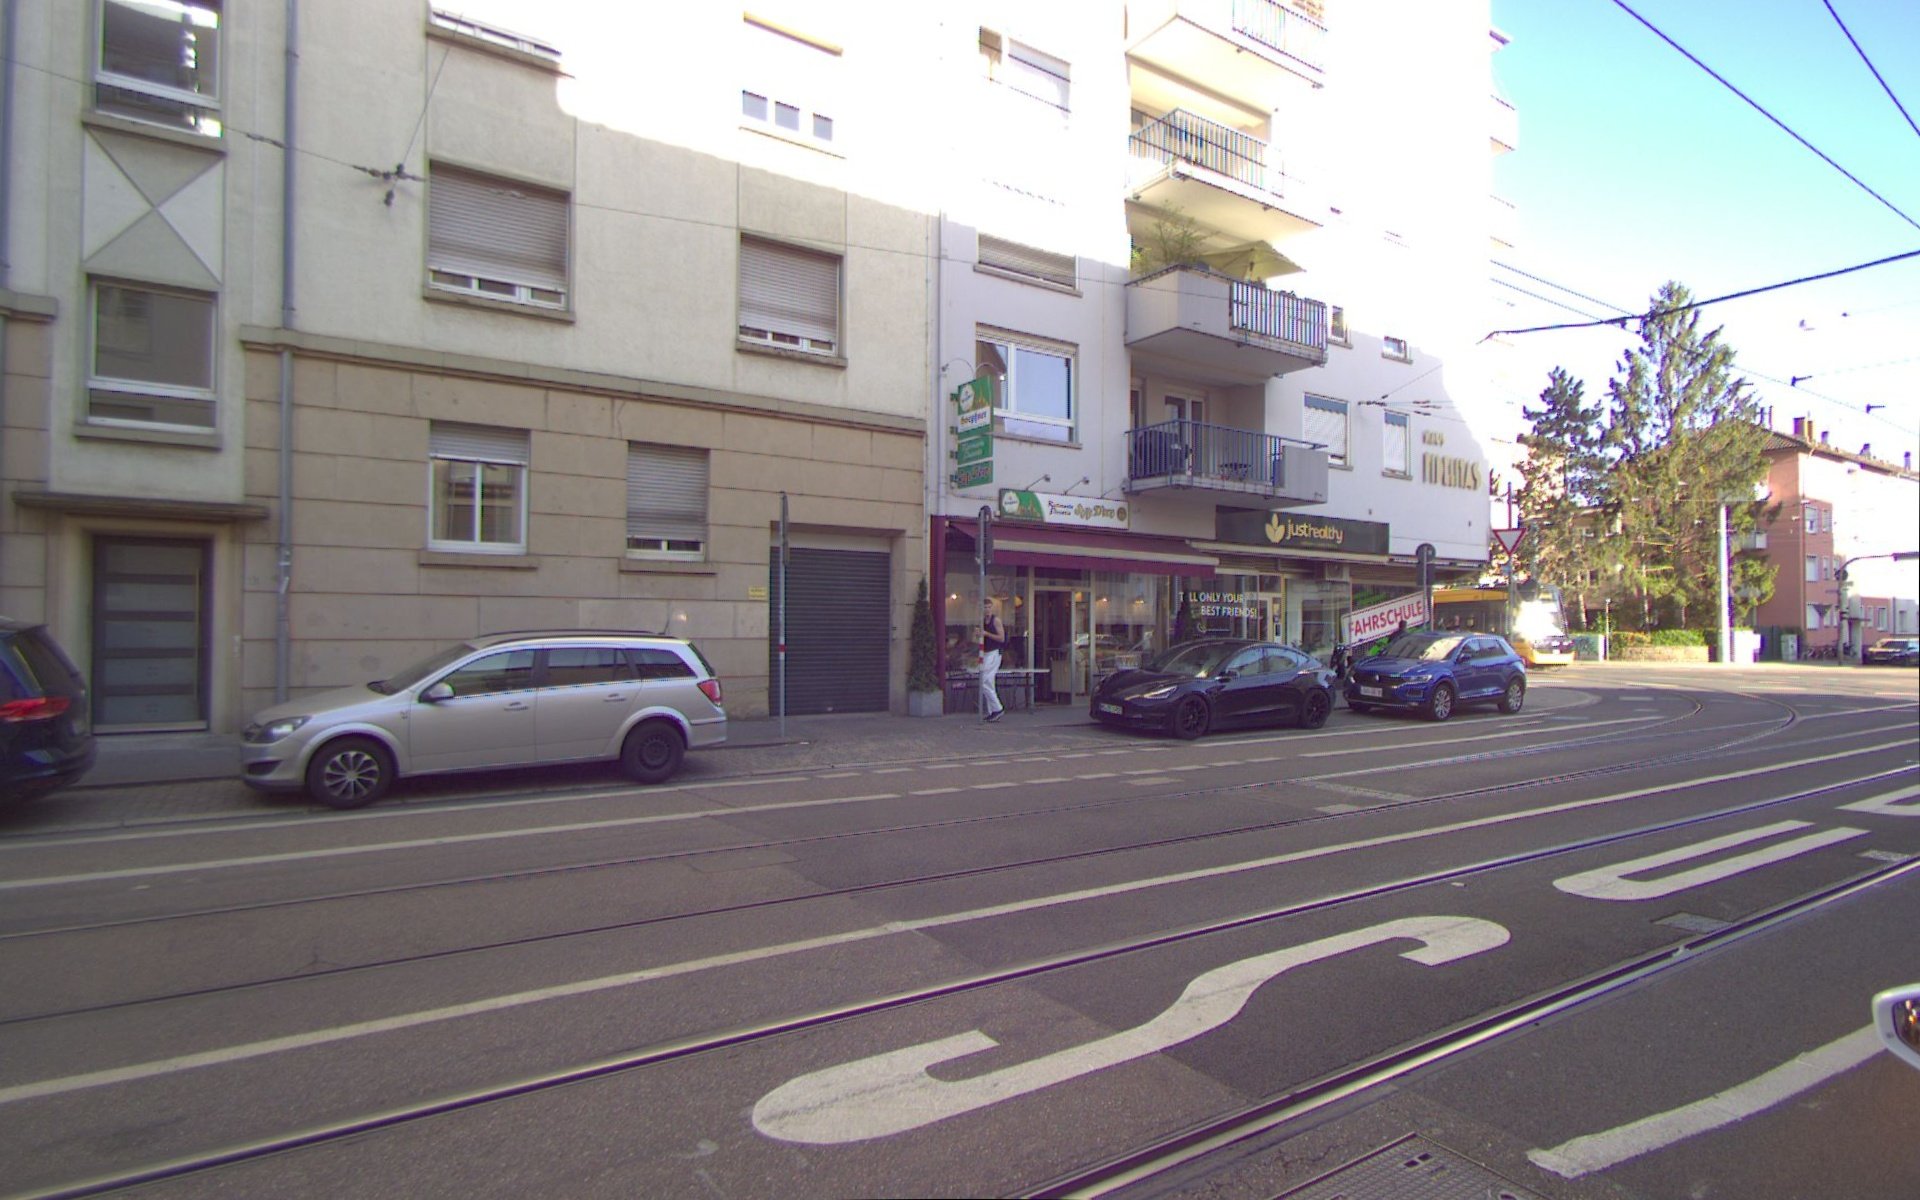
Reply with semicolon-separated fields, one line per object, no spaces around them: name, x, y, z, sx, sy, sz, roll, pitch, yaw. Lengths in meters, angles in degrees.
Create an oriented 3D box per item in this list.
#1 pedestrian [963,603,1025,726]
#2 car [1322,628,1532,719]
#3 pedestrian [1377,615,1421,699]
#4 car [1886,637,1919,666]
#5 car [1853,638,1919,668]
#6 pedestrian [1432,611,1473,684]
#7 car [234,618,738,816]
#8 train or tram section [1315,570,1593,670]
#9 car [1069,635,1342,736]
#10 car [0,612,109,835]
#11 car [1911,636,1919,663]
pedestrian;0.527;0.984;15.653;0.725;1.857;0.595;2;0;-30
car;8.943;1.325;19.158;4.030;1.552;1.858;1;-2;-34
pedestrian;9.793;1.264;22.418;0.691;1.829;0.568;2;0;-30
car;54.328;2.914;56.731;4.250;1.518;1.806;2;0;-30
car;49.610;2.827;53.628;3.949;1.440;1.784;2;0;-31
pedestrian;14.077;1.351;28.718;0.688;2.040;0.764;2;0;-35
car;-4.706;1.039;10.312;4.319;1.580;1.981;2;0;-34
train or tram section;20.439;0.933;43.163;3.022;3.641;12.587;1;-2;-16
car;3.995;1.276;16.096;4.382;1.405;1.810;1;-2;-34
car;-9.050;0.880;7.220;4.249;1.606;1.893;2;0;-35
car;58.121;2.953;59.321;4.103;1.531;1.778;2;0;-31
